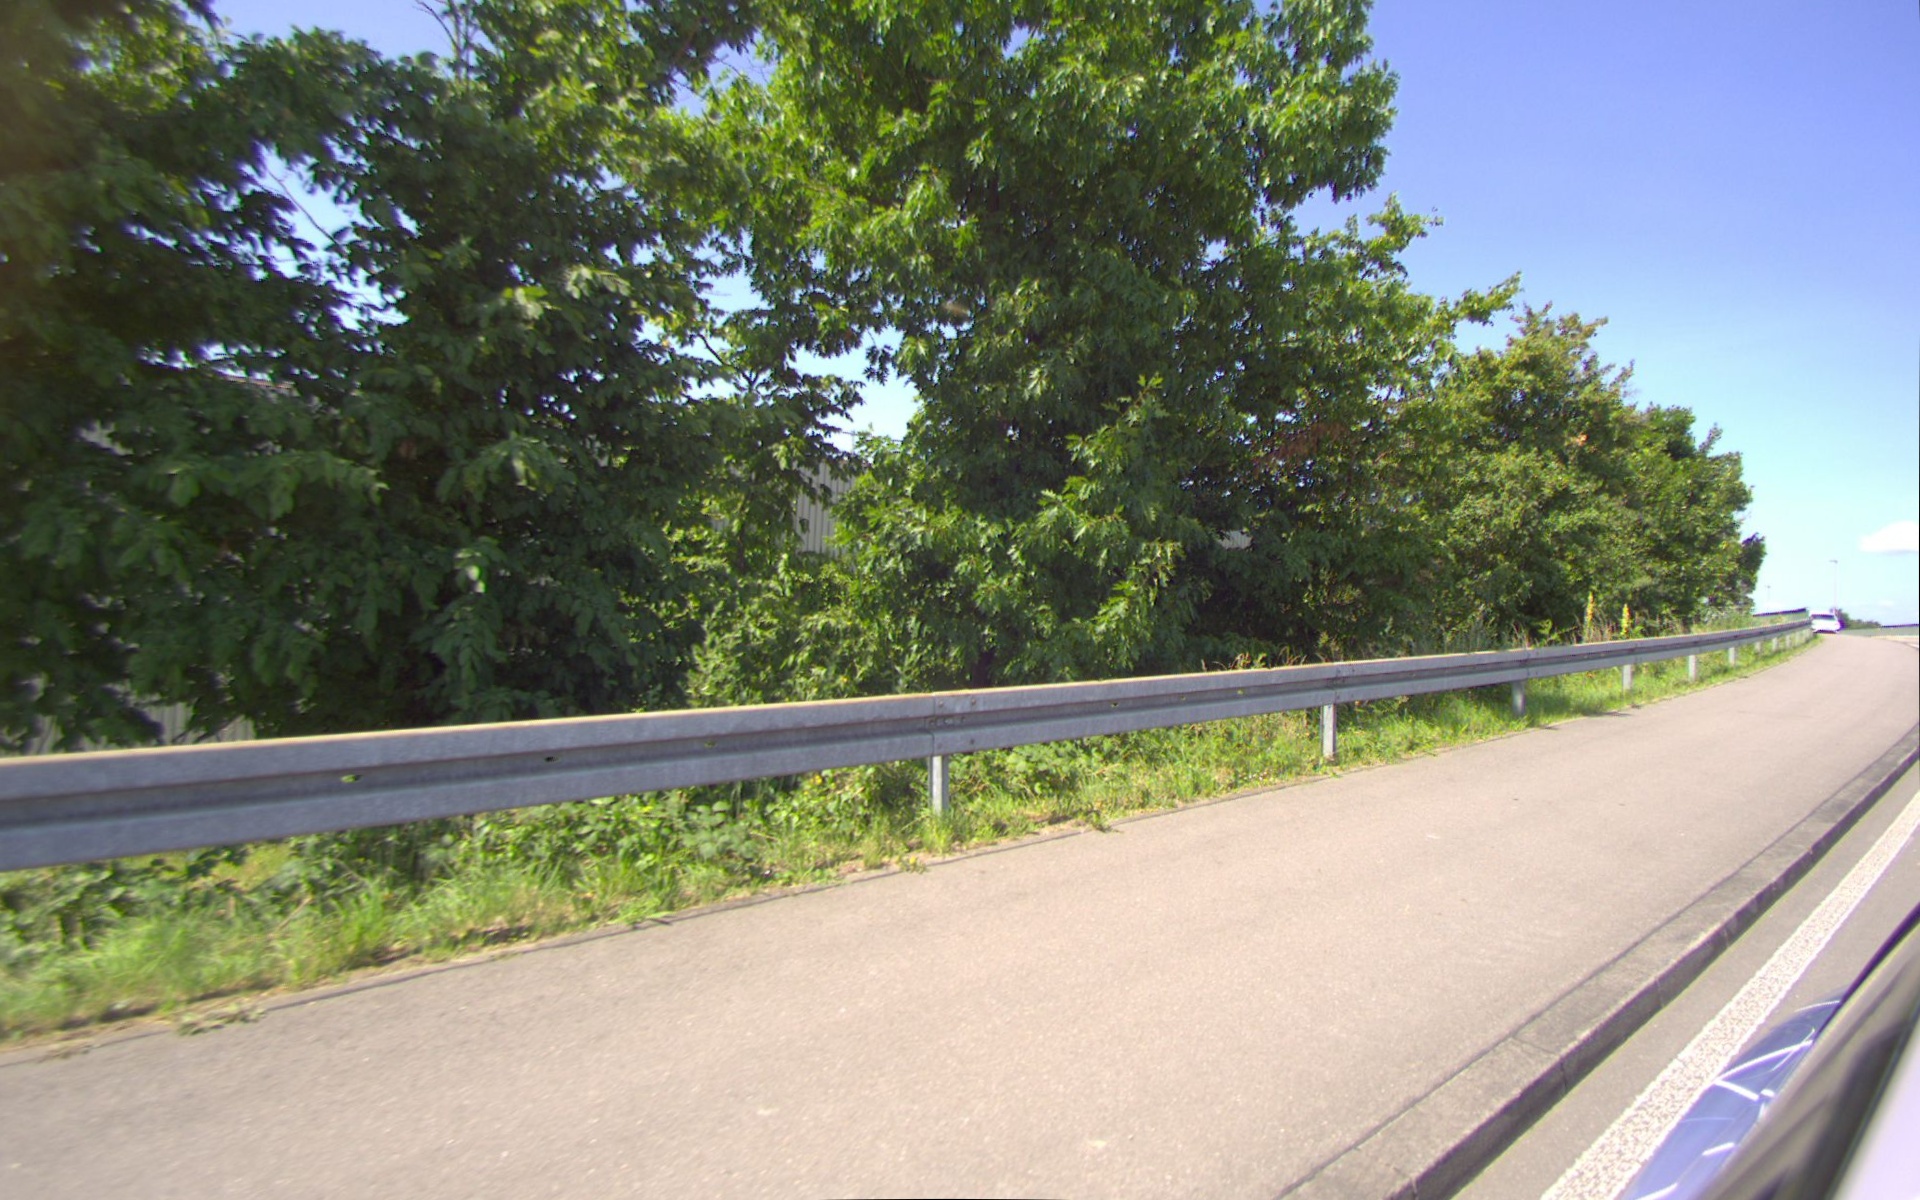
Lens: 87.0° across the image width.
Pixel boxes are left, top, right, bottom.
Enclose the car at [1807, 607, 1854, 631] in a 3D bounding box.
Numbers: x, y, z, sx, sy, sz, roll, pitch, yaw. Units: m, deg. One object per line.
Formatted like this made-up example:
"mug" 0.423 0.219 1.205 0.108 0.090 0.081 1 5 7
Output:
"car" 65.689 1.423 76.411 2.079 1.784 4.231 -1 -2 33
